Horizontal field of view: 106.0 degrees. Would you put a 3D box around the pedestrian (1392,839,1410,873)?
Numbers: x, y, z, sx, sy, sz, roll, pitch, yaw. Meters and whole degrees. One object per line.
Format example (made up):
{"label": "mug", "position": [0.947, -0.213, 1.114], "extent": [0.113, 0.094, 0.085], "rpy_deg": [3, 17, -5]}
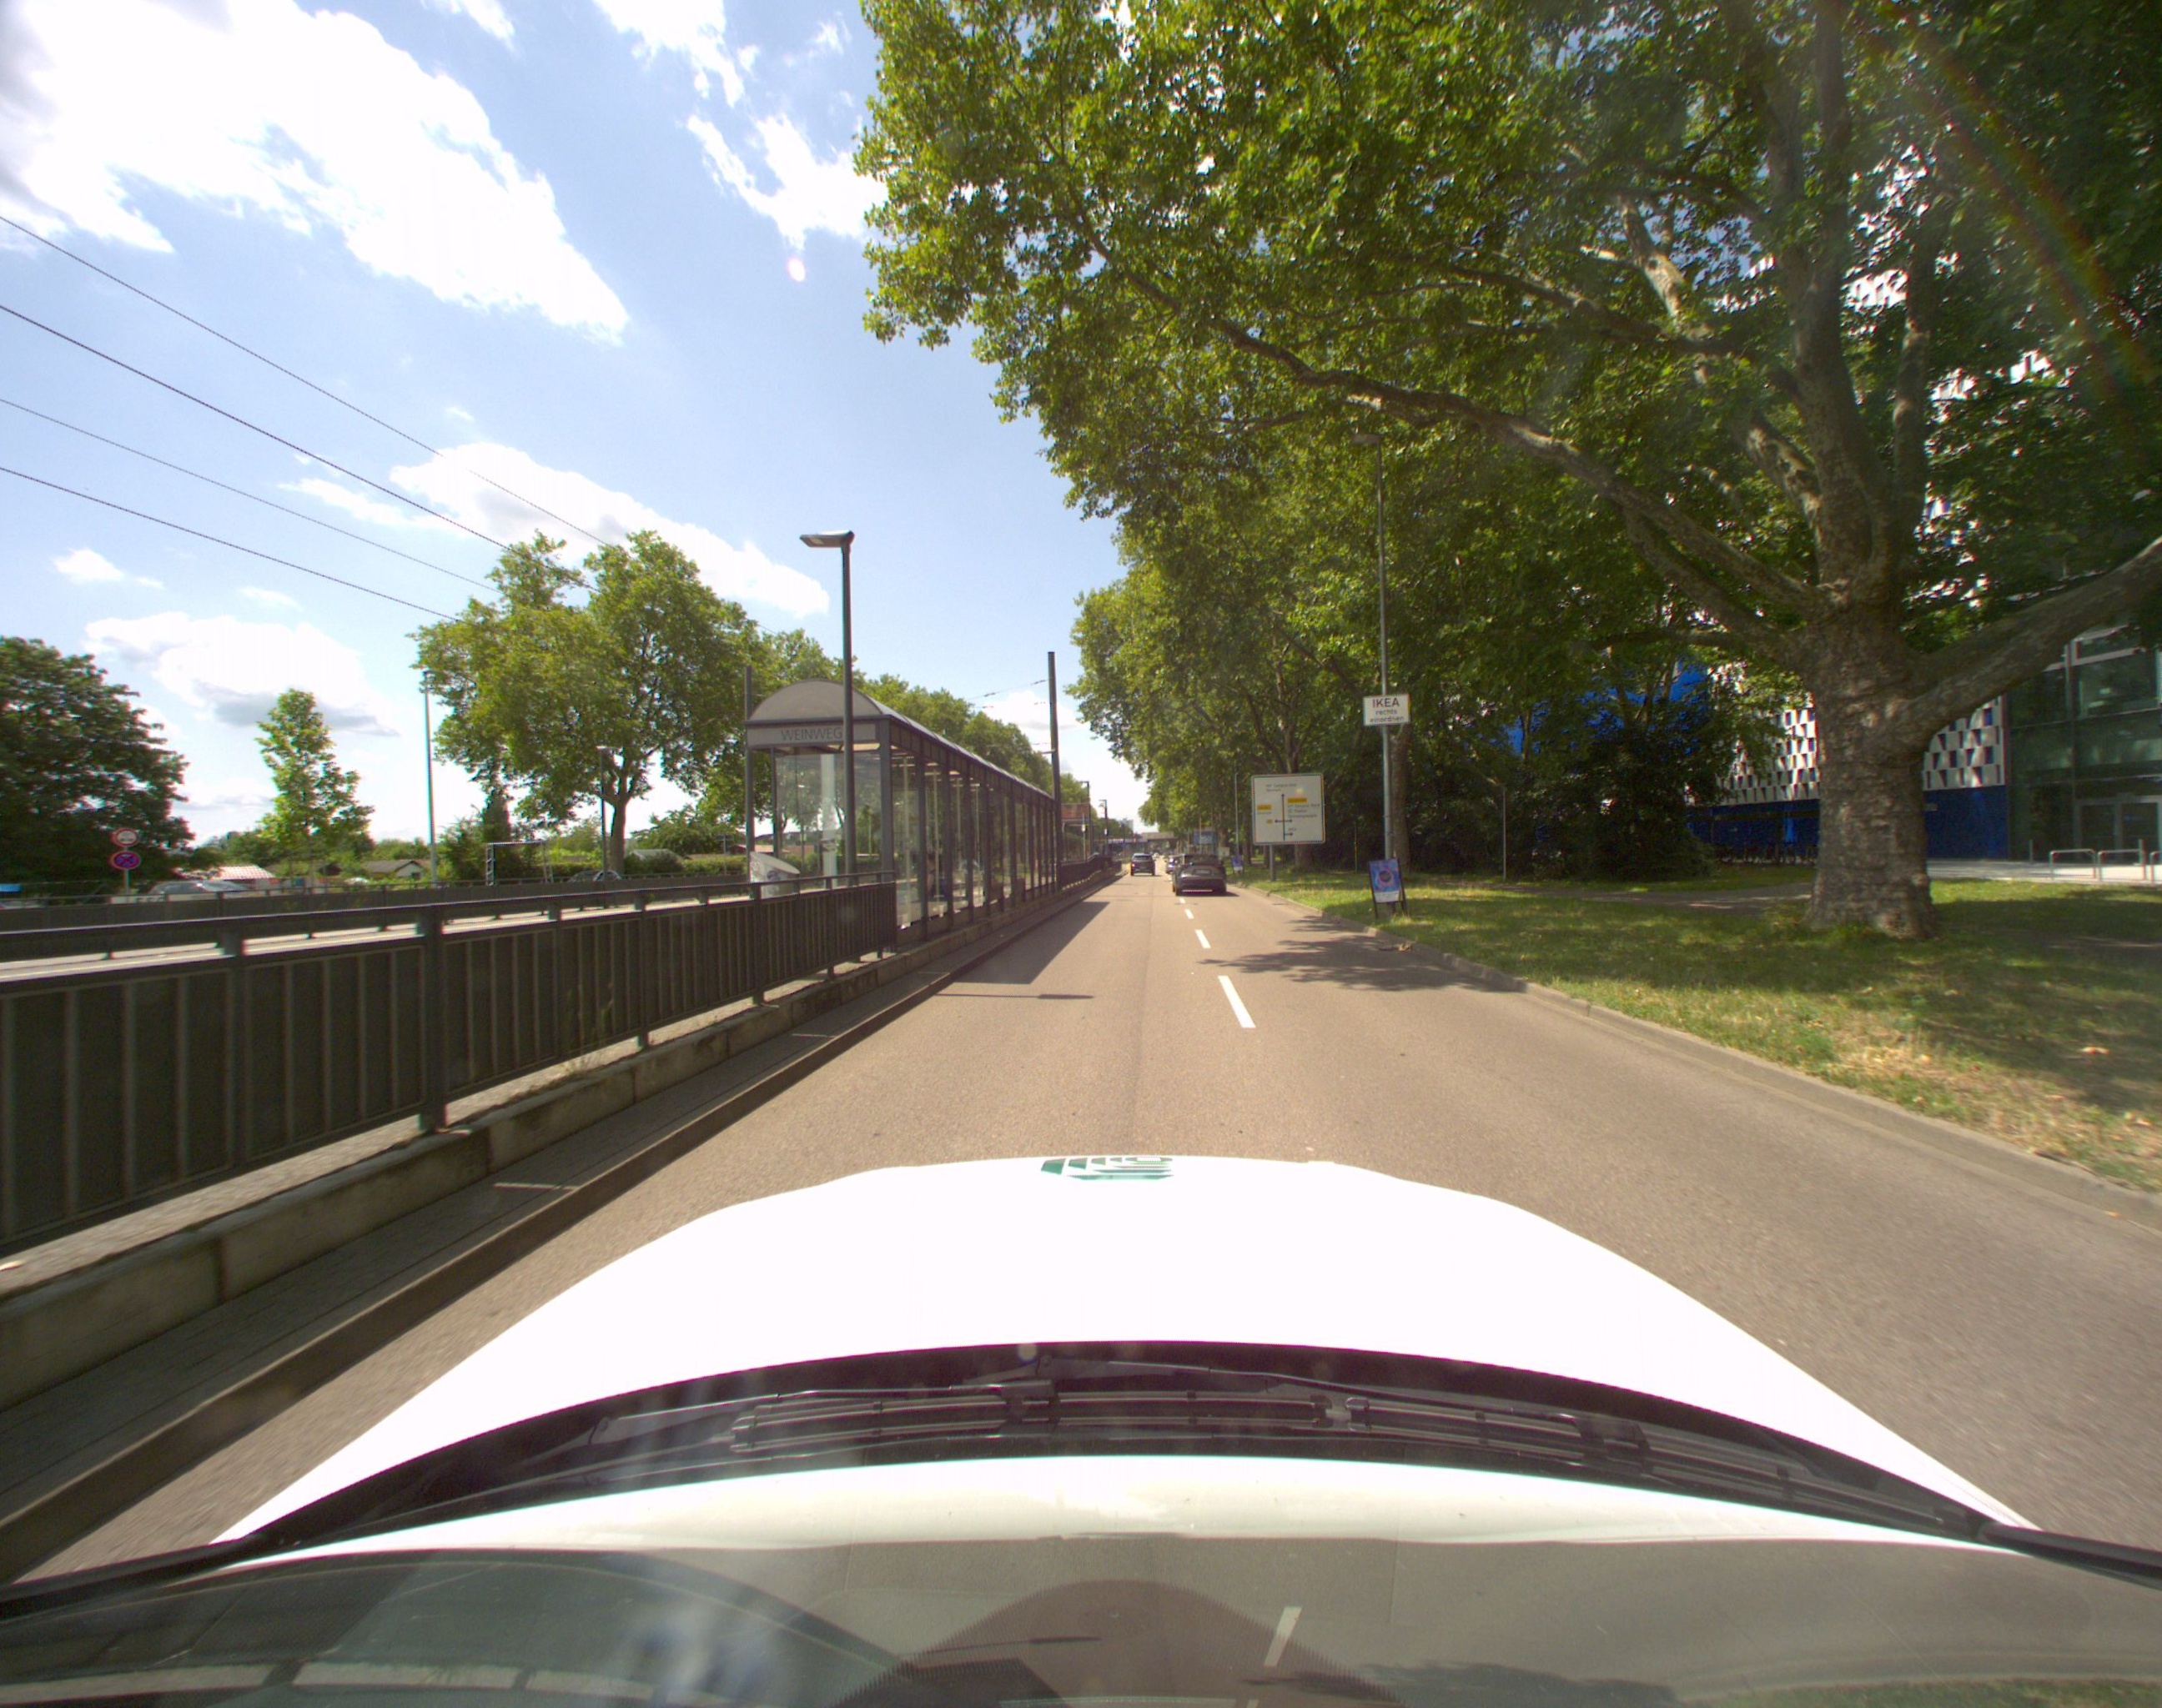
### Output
{"label": "pedestrian", "position": [19.673, 0.116, 50.089], "extent": [0.832, 2.013, 0.958], "rpy_deg": [0, 0, 4]}

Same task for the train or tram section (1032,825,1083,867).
{"label": "train or tram section", "position": [-1.811, -0.614, 67.464], "extent": [3.022, 3.186, 9.460], "rpy_deg": [-2, 0, 5]}

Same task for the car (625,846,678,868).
{"label": "car", "position": [-34.741, 0.214, 66.011], "extent": [1.895, 1.661, 3.933], "rpy_deg": [-1, 1, 4]}

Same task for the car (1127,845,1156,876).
{"label": "car", "position": [4.451, 0.435, 59.304], "extent": [1.983, 1.988, 4.372], "rpy_deg": [1, 2, 6]}

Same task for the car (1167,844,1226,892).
{"label": "car", "position": [4.364, 0.501, 31.308], "extent": [1.889, 1.674, 4.524], "rpy_deg": [-1, 0, 4]}

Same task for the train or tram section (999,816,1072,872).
{"label": "train or tram section", "position": [-2.711, -0.580, 54.304], "extent": [3.024, 3.186, 14.116], "rpy_deg": [-2, 0, 4]}

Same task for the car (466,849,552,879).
{"label": "car", "position": [-34.525, 0.587, 49.210], "extent": [3.894, 1.661, 1.914], "rpy_deg": [-1, 1, 7]}

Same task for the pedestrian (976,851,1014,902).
{"label": "pedestrian", "position": [-2.089, 0.532, 19.909], "extent": [0.783, 1.209, 0.700], "rpy_deg": [-1, 0, 2]}

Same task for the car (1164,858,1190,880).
{"label": "car", "position": [7.599, 1.177, 64.711], "extent": [1.823, 1.630, 4.301], "rpy_deg": [-1, 0, 4]}

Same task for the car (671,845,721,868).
{"label": "car", "position": [-30.687, 0.168, 65.043], "extent": [1.895, 1.661, 3.933], "rpy_deg": [-1, 1, 4]}

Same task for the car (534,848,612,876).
{"label": "car", "position": [-32.616, 0.485, 52.344], "extent": [3.894, 1.661, 1.914], "rpy_deg": [-1, 1, 7]}

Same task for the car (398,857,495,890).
{"label": "car", "position": [-34.719, 1.075, 44.629], "extent": [3.894, 1.661, 1.914], "rpy_deg": [-1, 1, 7]}

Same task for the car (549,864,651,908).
{"label": "car", "position": [-20.506, 1.321, 34.947], "extent": [1.700, 1.585, 4.006], "rpy_deg": [-1, 1, 5]}

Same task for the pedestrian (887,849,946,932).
{"label": "pedestrian", "position": [-2.432, 0.521, 12.076], "extent": [0.690, 1.190, 0.643], "rpy_deg": [0, 0, 5]}
